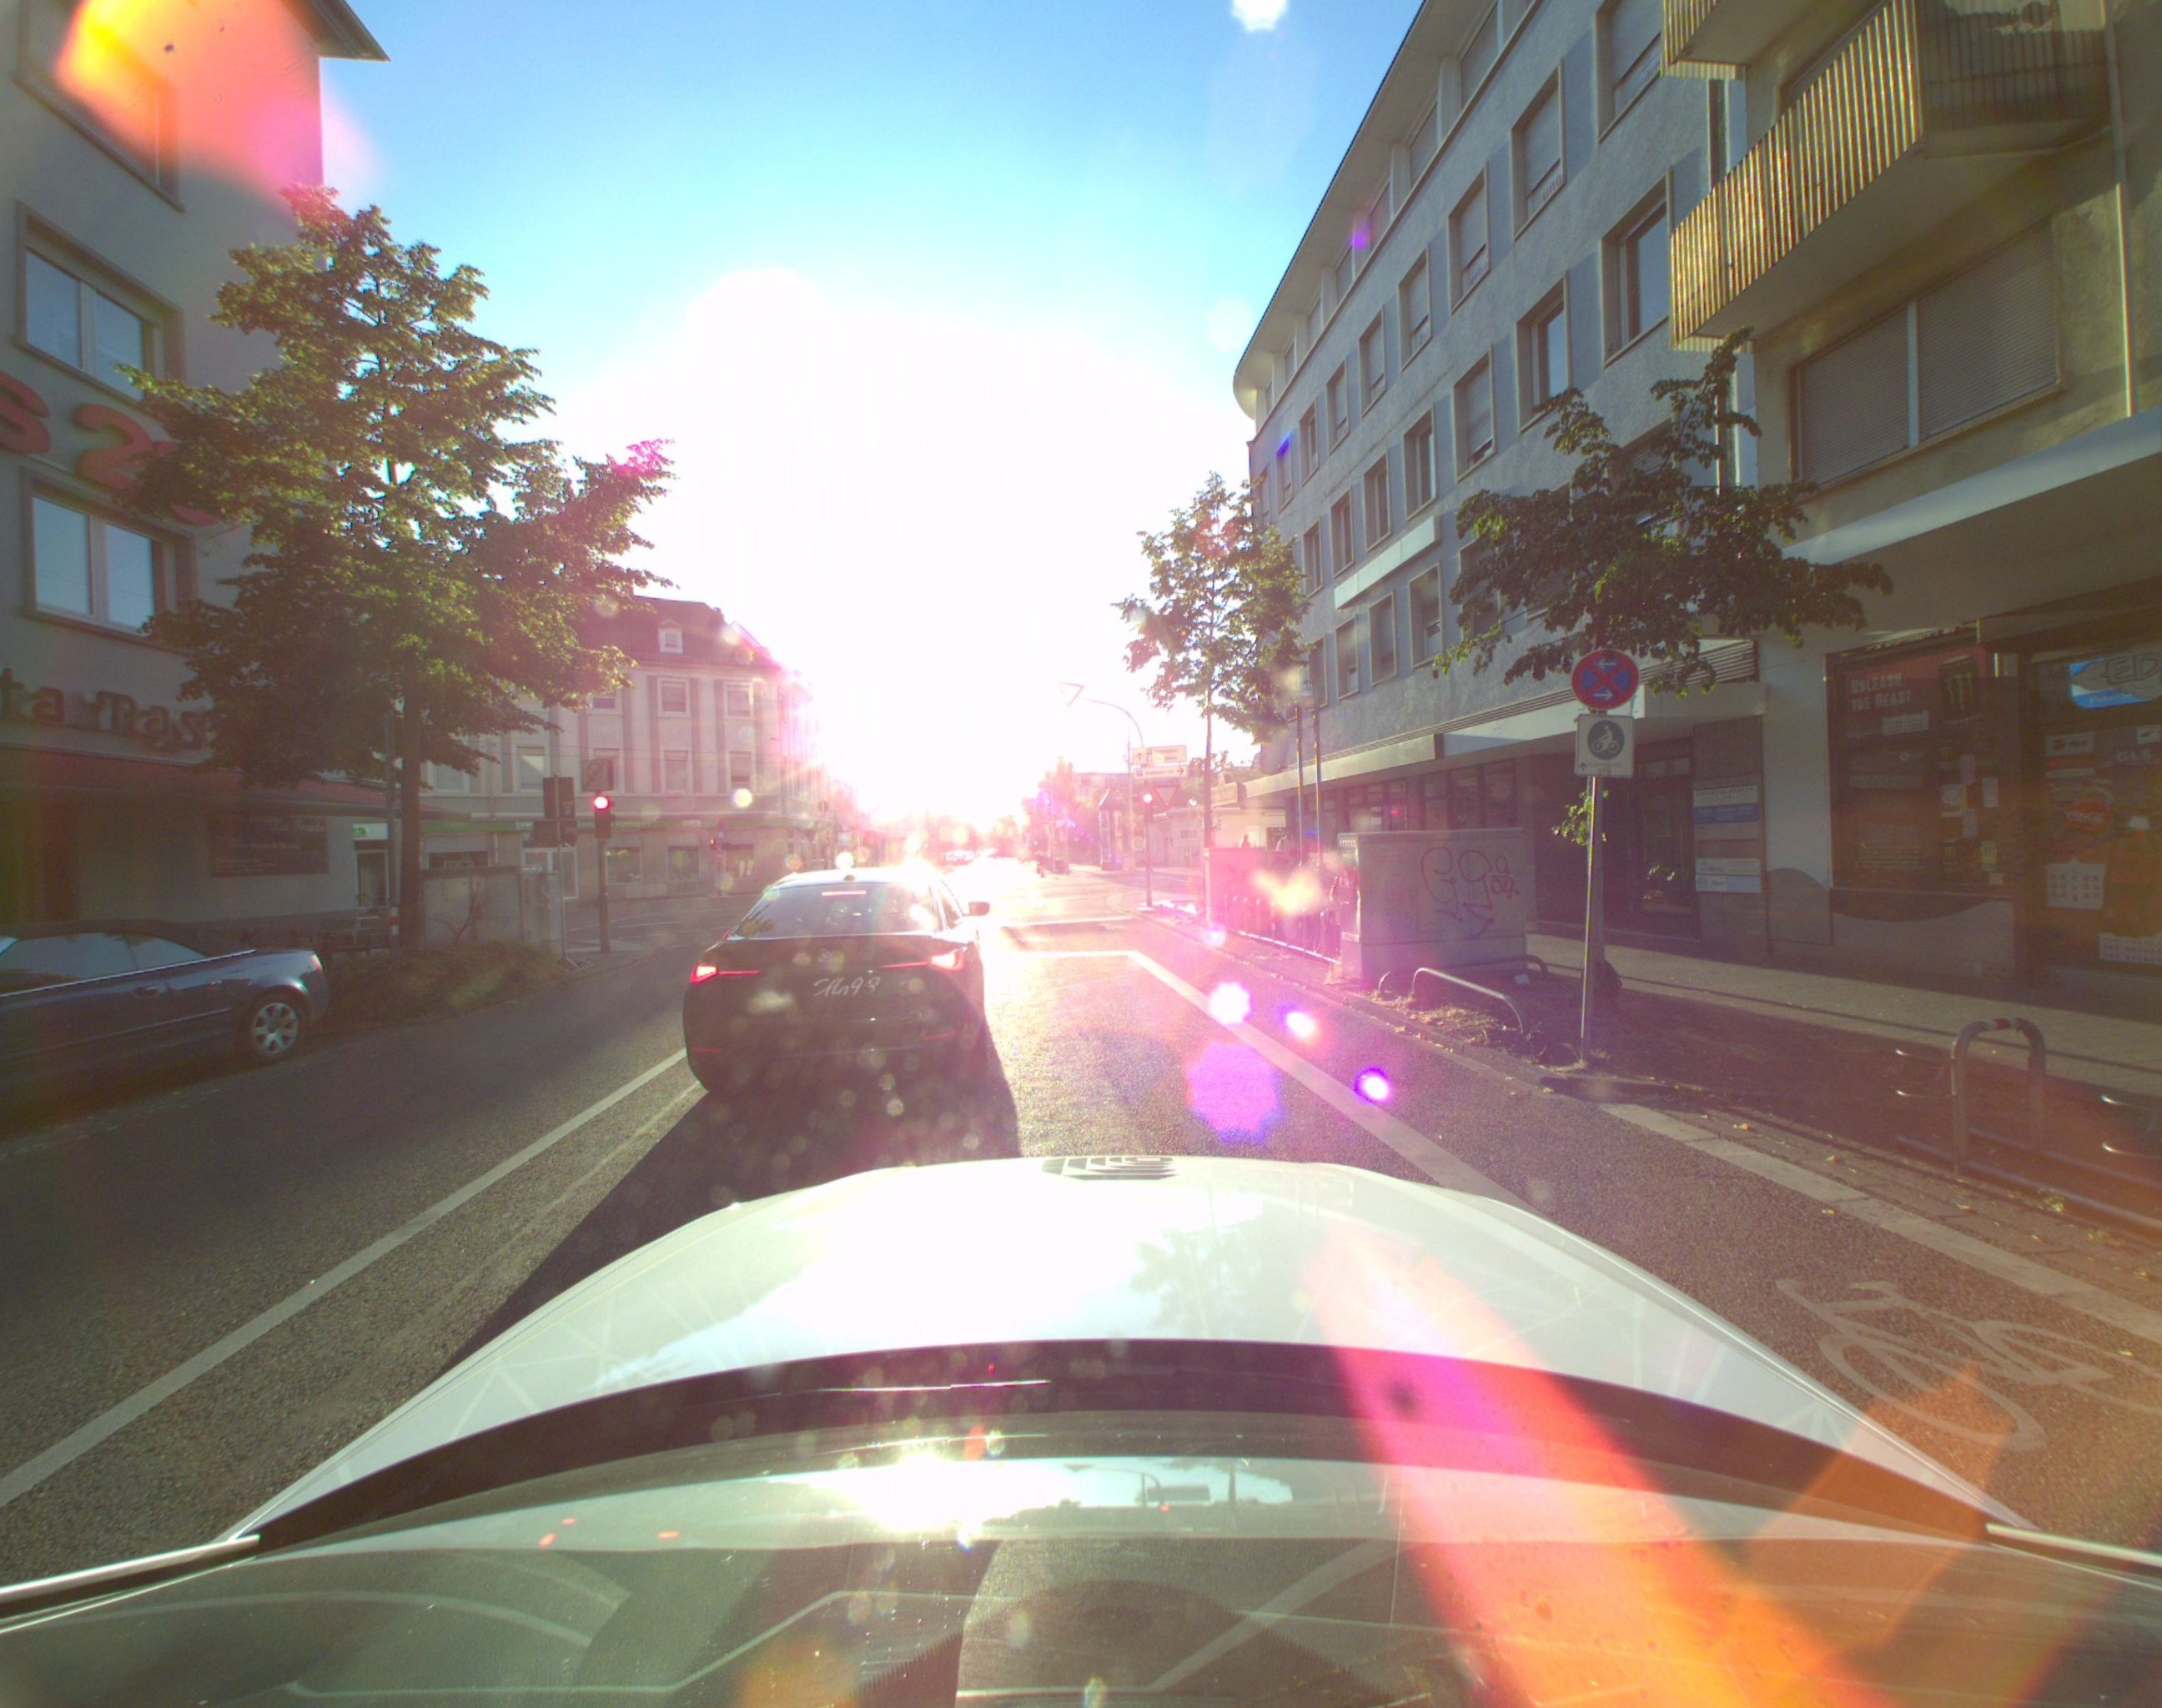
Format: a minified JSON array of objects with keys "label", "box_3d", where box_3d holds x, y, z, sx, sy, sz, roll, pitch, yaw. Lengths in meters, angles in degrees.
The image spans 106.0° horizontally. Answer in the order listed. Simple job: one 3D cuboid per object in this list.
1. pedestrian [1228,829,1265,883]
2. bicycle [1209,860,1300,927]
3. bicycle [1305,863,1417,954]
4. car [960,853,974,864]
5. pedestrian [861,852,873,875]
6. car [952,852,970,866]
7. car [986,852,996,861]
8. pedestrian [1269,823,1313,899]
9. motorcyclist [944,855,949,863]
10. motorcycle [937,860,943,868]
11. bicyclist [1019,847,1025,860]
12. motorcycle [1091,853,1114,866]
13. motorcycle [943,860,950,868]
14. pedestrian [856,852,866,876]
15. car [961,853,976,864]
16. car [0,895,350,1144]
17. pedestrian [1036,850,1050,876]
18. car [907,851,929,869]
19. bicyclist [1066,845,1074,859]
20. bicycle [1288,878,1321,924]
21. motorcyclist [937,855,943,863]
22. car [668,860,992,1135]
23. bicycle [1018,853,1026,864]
[{"label":"pedestrian","box_3d":[5.927,0.069,29.116,1.007,1.860,0.634,-5,1,-27]},{"label":"bicycle","box_3d":[3.237,0.725,15.213,1.610,1.171,0.318,-2,0,-5]},{"label":"bicycle","box_3d":[3.873,0.743,11.297,1.438,1.220,0.383,0,0,-5]},{"label":"car","box_3d":[-17.321,0.621,123.976,1.816,1.519,3.992,-2,0,-6]},{"label":"pedestrian","box_3d":[-17.146,0.756,65.174,0.670,1.876,0.621,-1,0,33]},{"label":"car","box_3d":[-13.934,0.571,94.742,1.816,1.519,3.992,-2,0,-6]},{"label":"car","box_3d":[-17.329,0.487,156.836,1.816,1.519,3.992,-2,0,-6]},{"label":"pedestrian","box_3d":[5.254,0.166,20.395,0.834,1.841,0.677,-2,0,-6]},{"label":"motorcyclist","box_3d":[-15.508,0.589,93.871,0.574,0.995,0.701,0,0,-6]},{"label":"motorcycle","box_3d":[-16.403,1.128,94.715,0.574,0.915,2.196,0,0,-6]},{"label":"bicyclist","box_3d":[-6.743,-0.065,92.827,0.551,1.481,0.719,-1,-1,-15]},{"label":"motorcycle","box_3d":[1.805,0.457,67.989,1.673,0.939,0.851,-2,0,-18]},{"label":"motorcycle","box_3d":[-15.522,1.121,94.013,0.574,0.915,2.196,0,0,-6]},{"label":"pedestrian","box_3d":[-17.372,0.758,64.397,0.642,1.876,0.630,0,0,-7]},{"label":"car","box_3d":[-15.737,0.624,113.801,1.816,1.519,3.992,-2,0,-6]},{"label":"car","box_3d":[-7.637,1.151,5.546,1.721,1.415,4.270,-4,0,-7]},{"label":"pedestrian","box_3d":[-2.322,0.551,49.908,0.736,1.529,0.469,0,0,-23]},{"label":"car","box_3d":[-17.520,0.655,87.720,1.816,1.788,3.992,-2,0,-6]},{"label":"bicyclist","box_3d":[-1.187,-0.218,88.731,0.879,1.505,0.613,0,0,5]},{"label":"bicycle","box_3d":[4.202,0.871,15.379,0.249,0.796,1.114,0,0,-4]},{"label":"motorcyclist","box_3d":[-16.392,0.596,94.585,0.574,0.915,2.196,0,0,-6]},{"label":"car","box_3d":[-1.643,0.800,6.660,1.735,1.428,4.213,-1,0,-7]},{"label":"bicycle","box_3d":[-6.749,0.503,92.876,0.551,1.159,2.133,-1,-1,-14]}]
